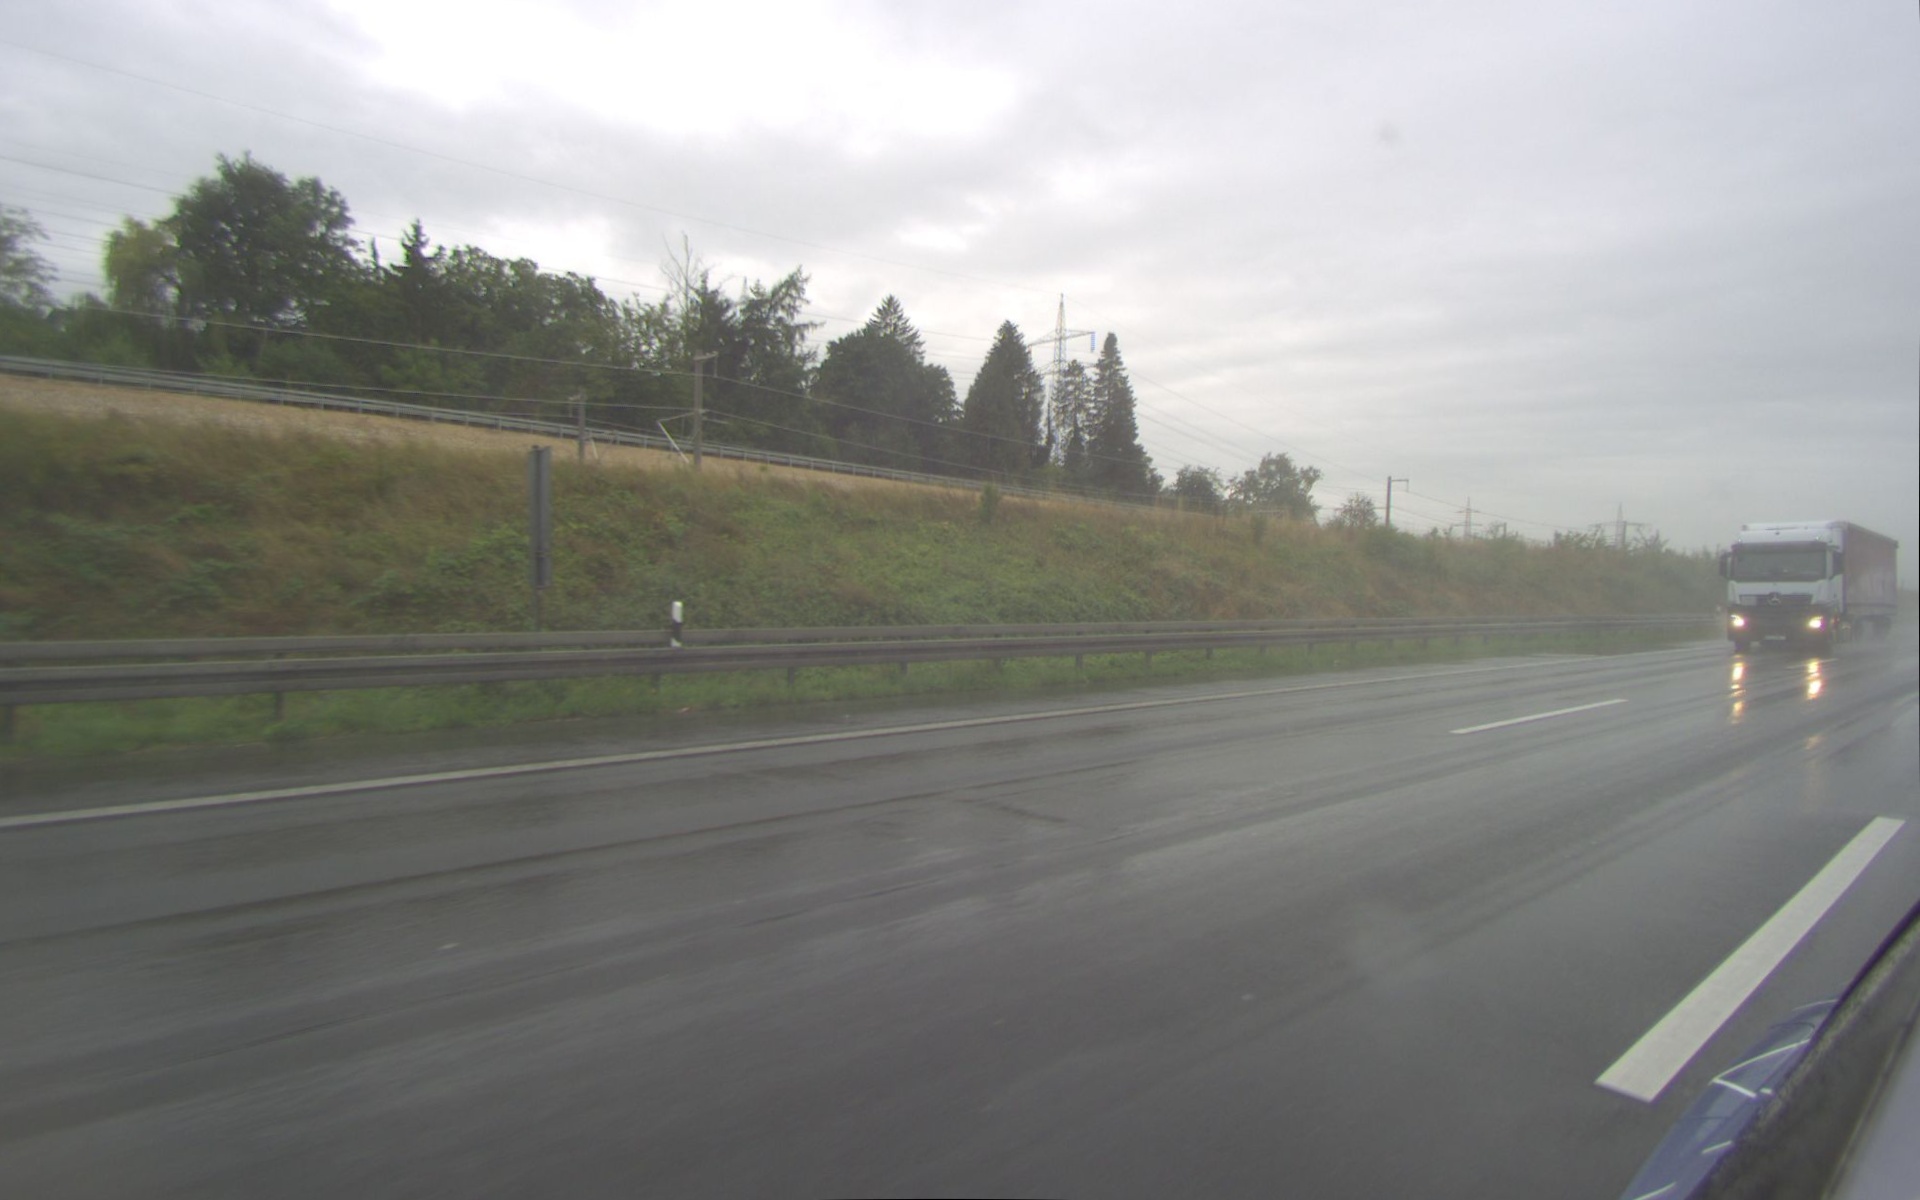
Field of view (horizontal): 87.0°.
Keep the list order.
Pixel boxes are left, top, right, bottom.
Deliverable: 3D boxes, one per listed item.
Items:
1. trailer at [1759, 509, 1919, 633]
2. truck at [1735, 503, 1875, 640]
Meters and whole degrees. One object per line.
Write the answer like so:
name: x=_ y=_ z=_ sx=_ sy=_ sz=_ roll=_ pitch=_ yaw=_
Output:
trailer: x=33.070 y=-0.830 z=37.508 sx=16.254 sy=3.813 sz=2.484 roll=1 pitch=0 yaw=-41
truck: x=26.884 y=-0.805 z=32.098 sx=6.089 sy=3.939 sz=2.456 roll=1 pitch=0 yaw=-41
